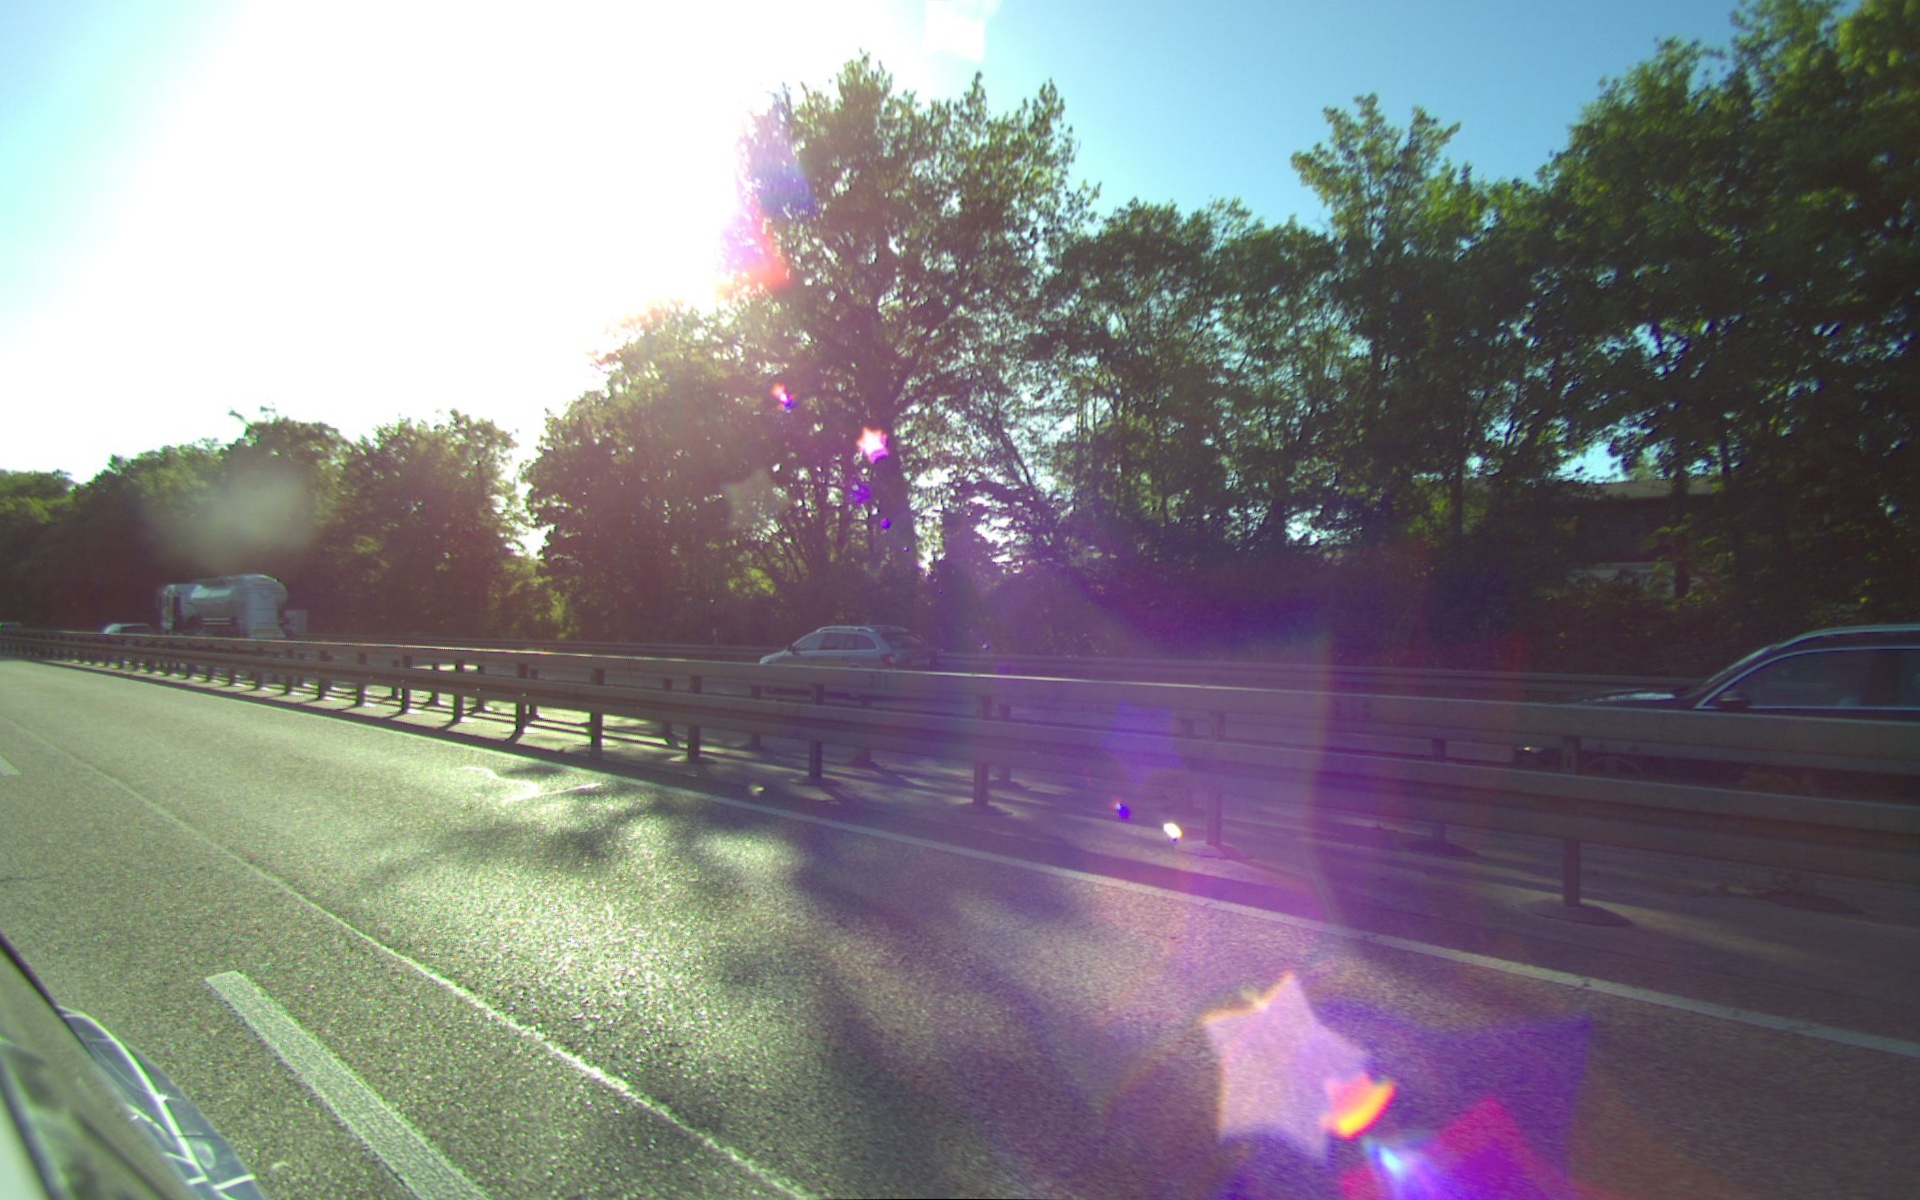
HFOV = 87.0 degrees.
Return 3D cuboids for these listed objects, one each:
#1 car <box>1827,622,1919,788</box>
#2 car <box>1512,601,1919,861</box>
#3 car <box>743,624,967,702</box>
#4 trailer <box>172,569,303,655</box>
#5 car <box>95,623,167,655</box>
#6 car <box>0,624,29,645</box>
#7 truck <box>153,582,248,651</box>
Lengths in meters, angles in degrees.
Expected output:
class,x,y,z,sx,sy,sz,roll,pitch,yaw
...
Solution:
class,x,y,z,sx,sy,sz,roll,pitch,yaw
car,11.571,1.029,9.601,5.056,1.626,2.049,-1,-1,41
car,7.285,0.913,7.591,5.220,1.761,2.050,-1,-2,40
car,-2.398,1.290,22.138,4.983,1.478,2.049,-1,-1,41
trailer,-37.694,0.693,52.604,10.967,4.028,3.021,-1,-2,41
car,-40.408,1.882,49.290,4.691,1.478,1.780,-1,-2,39
car,-68.437,2.442,72.775,4.088,1.478,1.649,-1,-2,39
truck,-42.738,0.974,56.884,6.151,3.658,2.950,-1,-2,41
